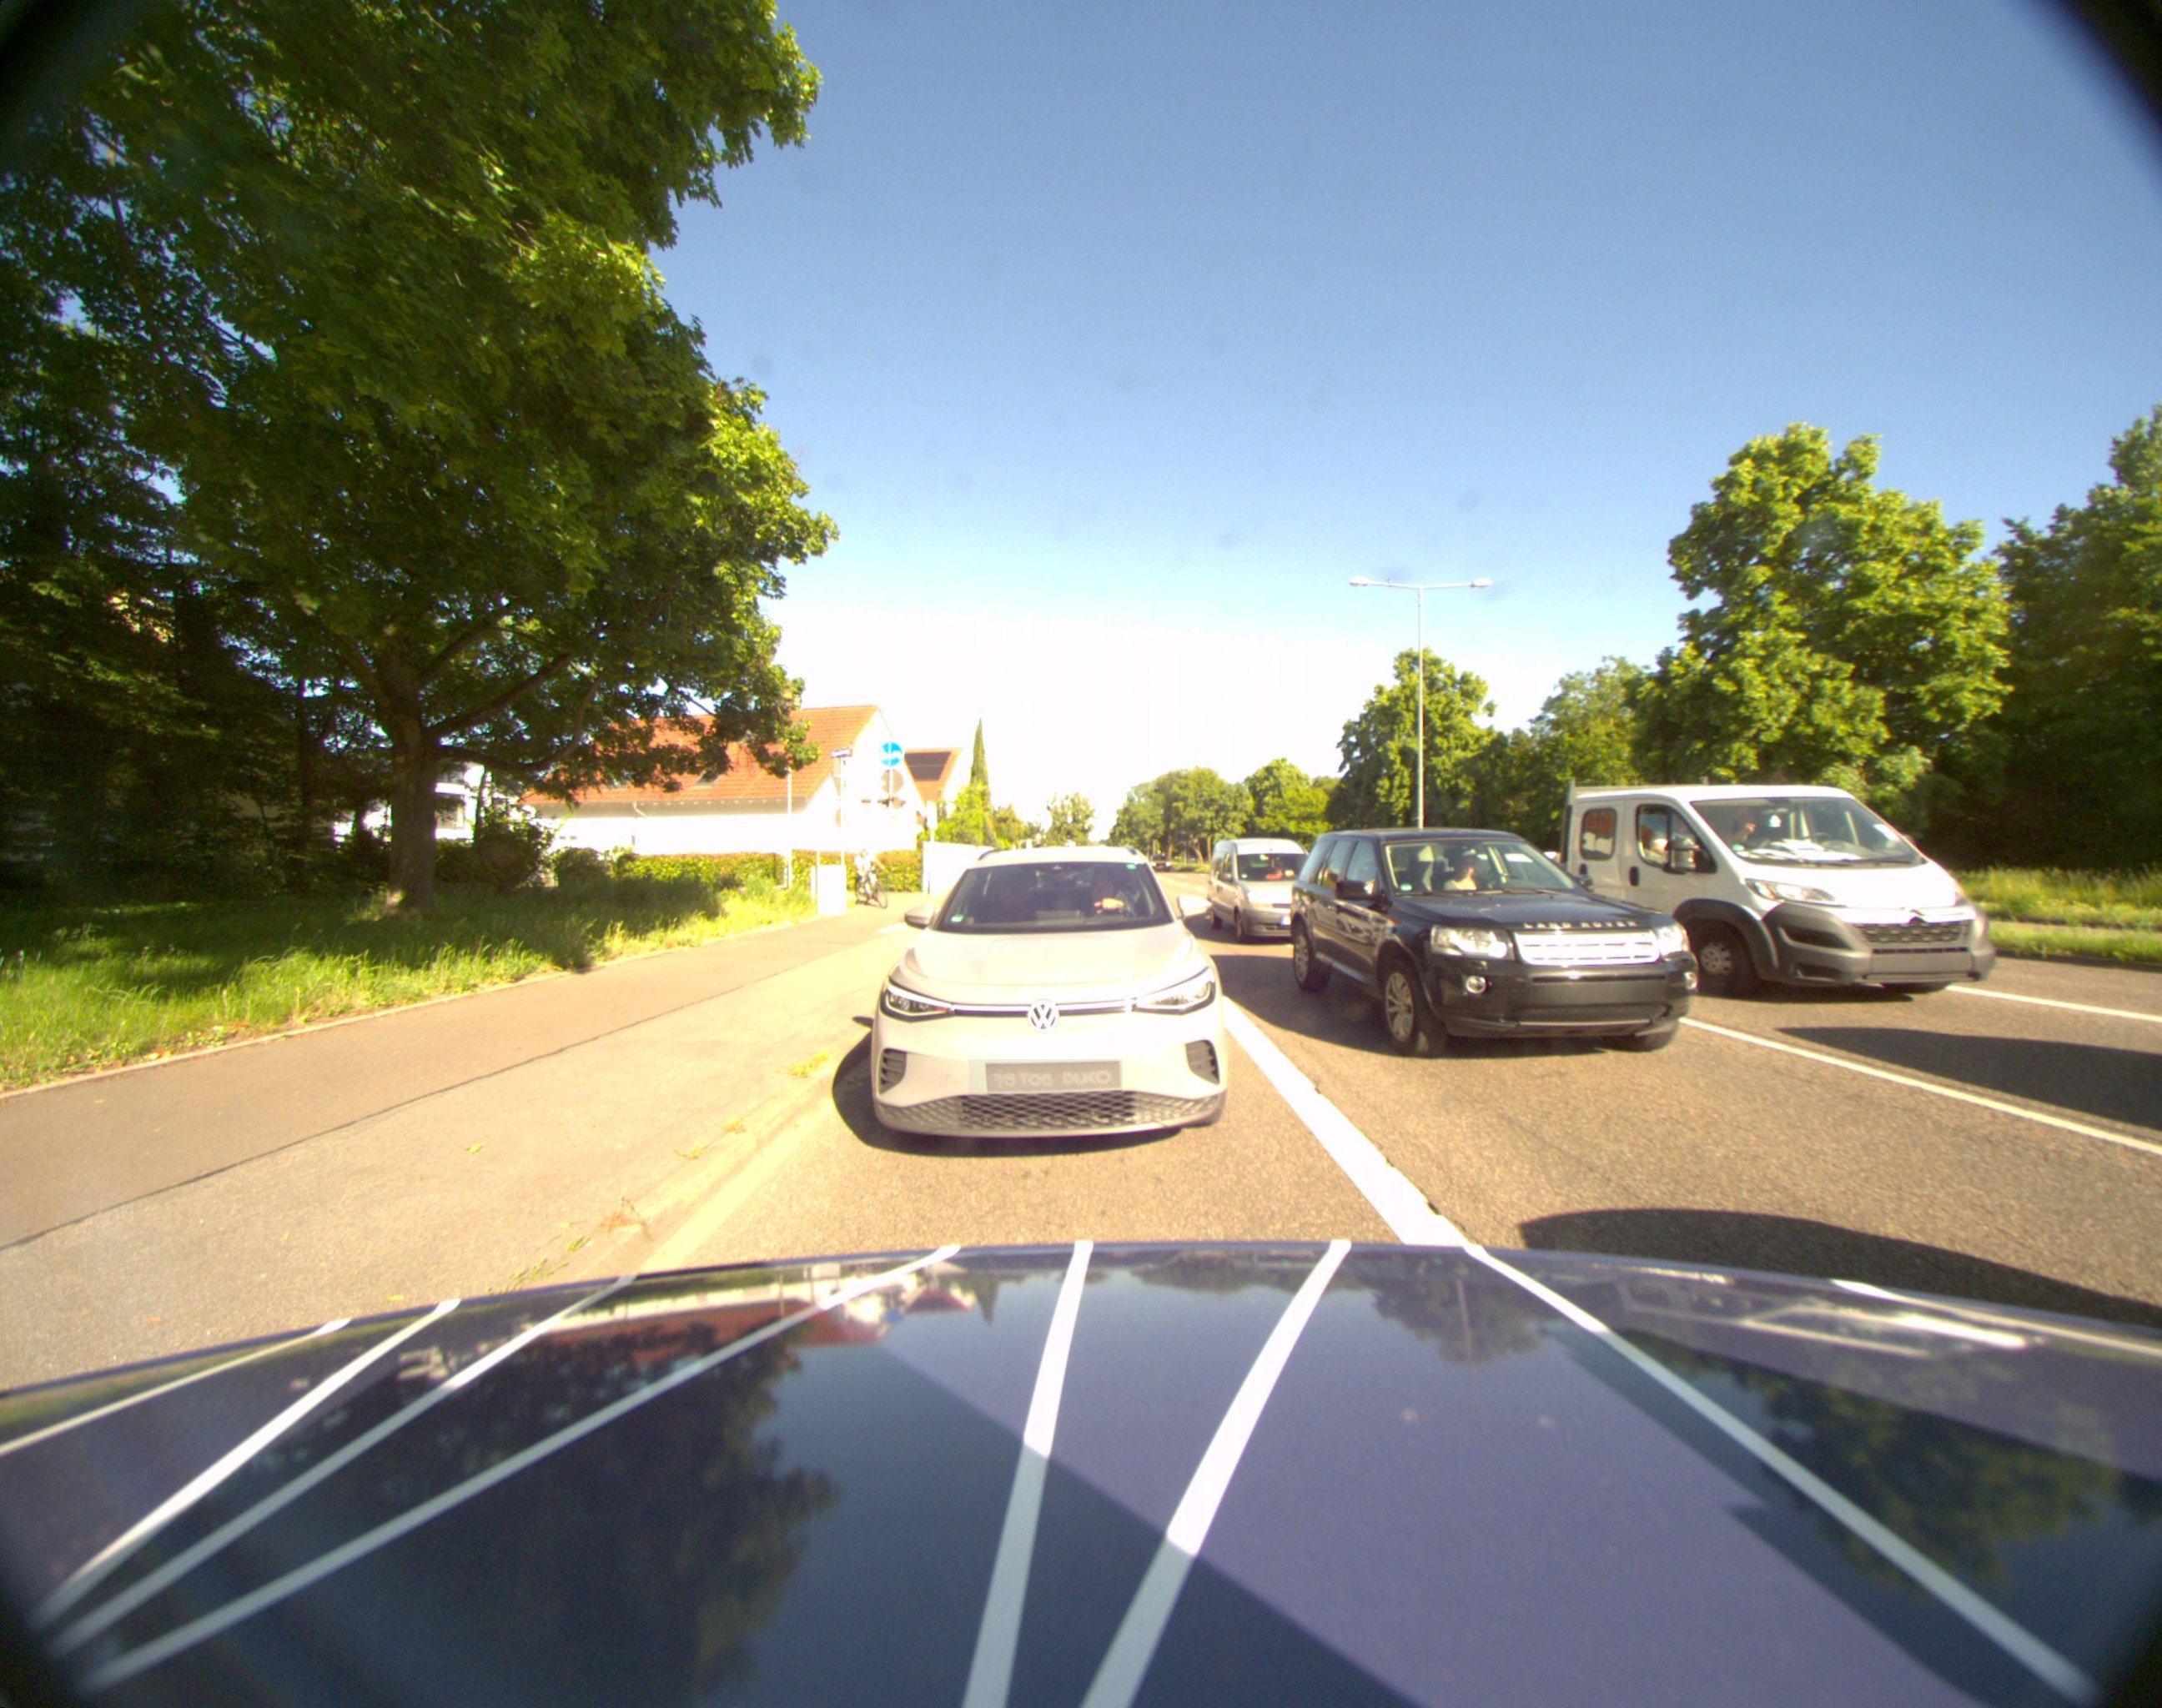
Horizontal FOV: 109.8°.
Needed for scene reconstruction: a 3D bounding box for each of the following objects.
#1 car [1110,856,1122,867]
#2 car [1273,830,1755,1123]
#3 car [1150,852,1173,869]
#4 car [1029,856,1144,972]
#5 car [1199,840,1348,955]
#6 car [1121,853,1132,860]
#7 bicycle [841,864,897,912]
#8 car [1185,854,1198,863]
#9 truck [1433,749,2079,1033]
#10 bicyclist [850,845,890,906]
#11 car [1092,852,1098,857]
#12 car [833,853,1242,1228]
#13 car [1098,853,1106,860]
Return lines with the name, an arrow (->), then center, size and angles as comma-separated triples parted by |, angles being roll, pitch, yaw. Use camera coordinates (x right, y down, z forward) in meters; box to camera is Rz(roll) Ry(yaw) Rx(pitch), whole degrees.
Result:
car -> 5.067, 1.030, 109.822 | 1.630, 1.466, 3.931 | -1, 0, 0
car -> 3.164, 0.718, 6.765 | 1.816, 1.721, 4.386 | -2, 1, 1
car -> 7.394, 0.597, 70.368 | 1.704, 1.466, 3.931 | -1, 0, 0
car -> 0.107, 0.868, 13.013 | 1.632, 1.586, 4.024 | -2, 1, 1
car -> 3.323, 0.656, 13.959 | 1.632, 1.741, 4.386 | -2, 1, 1
car -> 8.684, 0.495, 145.435 | 1.727, 1.436, 3.999 | 0, 0, -1
bicycle -> -5.888, 0.934, 21.072 | 0.582, 1.091, 1.980 | 3, 3, -43
car -> 20.293, 0.869, 140.055 | 1.878, 1.674, 4.000 | 0, 0, 1
truck -> 7.211, 0.273, 9.744 | 2.185, 2.307, 6.842 | -2, 1, 0
bicyclist -> -5.853, 0.585, 21.059 | 0.582, 1.572, 0.994 | 3, 3, -43
car -> 4.381, 0.102, 233.324 | 1.726, 1.630, 4.000 | 0, 0, 1
car -> -0.171, 0.851, 5.569 | 1.858, 1.679, 4.206 | 0, 1, 1
car -> 4.674, 0.581, 167.149 | 1.726, 1.630, 4.000 | 0, 0, 1
